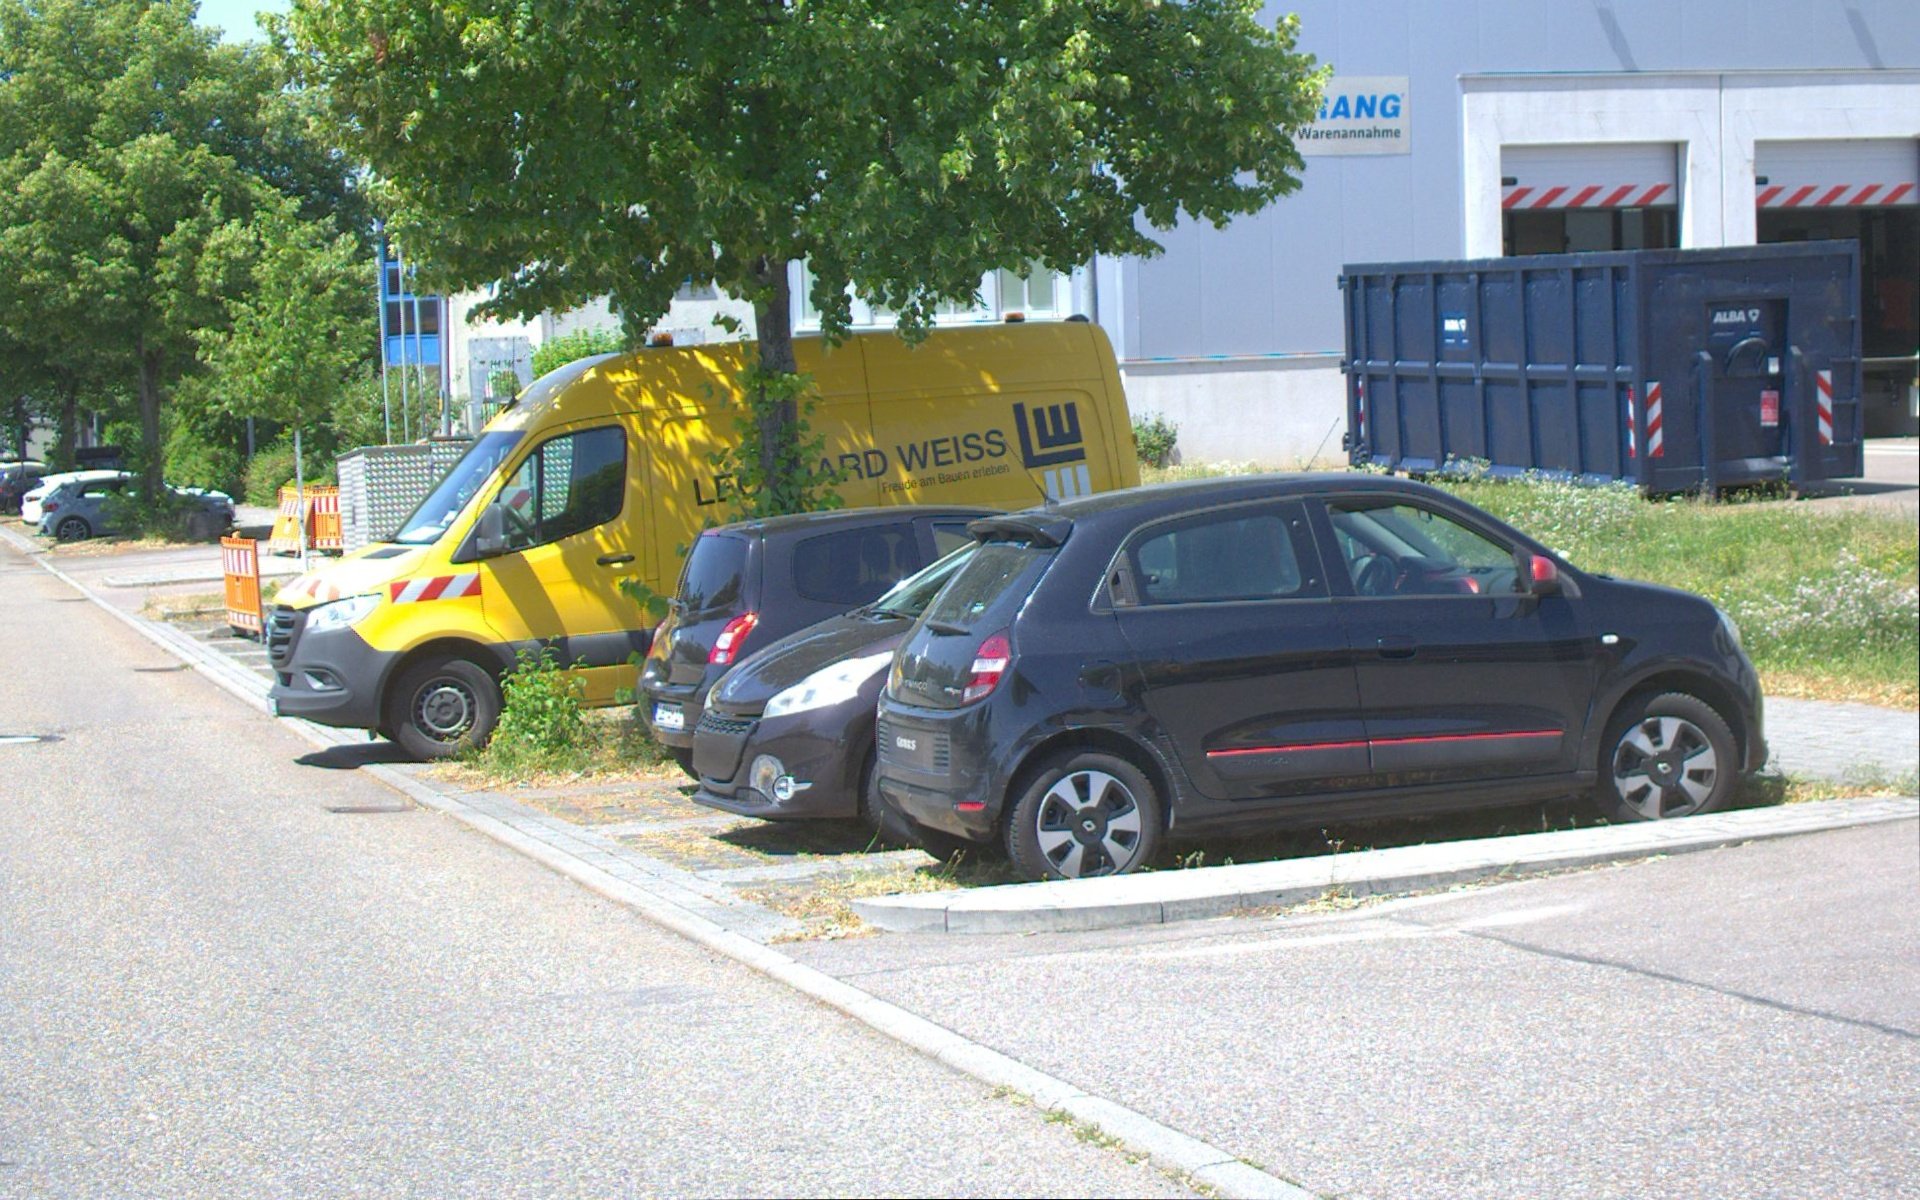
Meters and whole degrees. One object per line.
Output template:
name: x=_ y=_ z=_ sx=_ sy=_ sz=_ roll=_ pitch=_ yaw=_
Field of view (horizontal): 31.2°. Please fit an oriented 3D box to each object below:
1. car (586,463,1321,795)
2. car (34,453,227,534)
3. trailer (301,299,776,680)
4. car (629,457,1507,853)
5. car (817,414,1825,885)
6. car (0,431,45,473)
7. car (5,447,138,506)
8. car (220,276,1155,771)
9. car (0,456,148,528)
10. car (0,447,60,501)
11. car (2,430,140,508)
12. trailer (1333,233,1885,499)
car: x=-0.050 y=0.096 z=18.759 sx=3.601 sy=1.473 sz=1.628 roll=-4 pitch=3 yaw=-19
car: x=-17.634 y=-2.277 z=73.119 sx=3.679 sy=1.349 sz=1.646 roll=-7 pitch=5 yaw=-21
trailer: x=-3.860 y=-1.014 z=30.357 sx=2.656 sy=2.847 sz=5.522 roll=-6 pitch=4 yaw=-21
car: x=0.502 y=0.188 z=16.321 sx=3.770 sy=1.501 sz=1.591 roll=-4 pitch=3 yaw=-19
car: x=1.449 y=0.129 z=14.072 sx=3.660 sy=1.457 sz=1.628 roll=-6 pitch=4 yaw=-17
car: x=-39.787 y=-6.028 z=141.179 sx=3.931 sy=1.572 sz=1.768 roll=-4 pitch=7 yaw=-25
car: x=-26.847 y=-3.739 z=103.809 sx=3.721 sy=1.621 sz=1.815 roll=-3 pitch=3 yaw=-18
car: x=-1.819 y=-0.607 z=23.129 sx=5.778 sy=2.722 sz=2.001 roll=-5 pitch=5 yaw=-19
car: x=-21.335 y=-2.586 z=82.051 sx=3.516 sy=1.349 sz=1.538 roll=-7 pitch=5 yaw=-21
car: x=-36.139 y=-4.733 z=129.677 sx=3.931 sy=1.828 sz=1.768 roll=-4 pitch=7 yaw=-25
car: x=-26.022 y=-3.852 z=100.592 sx=3.721 sy=2.103 sz=1.815 roll=-3 pitch=3 yaw=-18
trailer: x=6.547 y=-2.597 z=36.061 sx=2.658 sy=2.411 sz=7.419 roll=-3 pitch=7 yaw=-16
